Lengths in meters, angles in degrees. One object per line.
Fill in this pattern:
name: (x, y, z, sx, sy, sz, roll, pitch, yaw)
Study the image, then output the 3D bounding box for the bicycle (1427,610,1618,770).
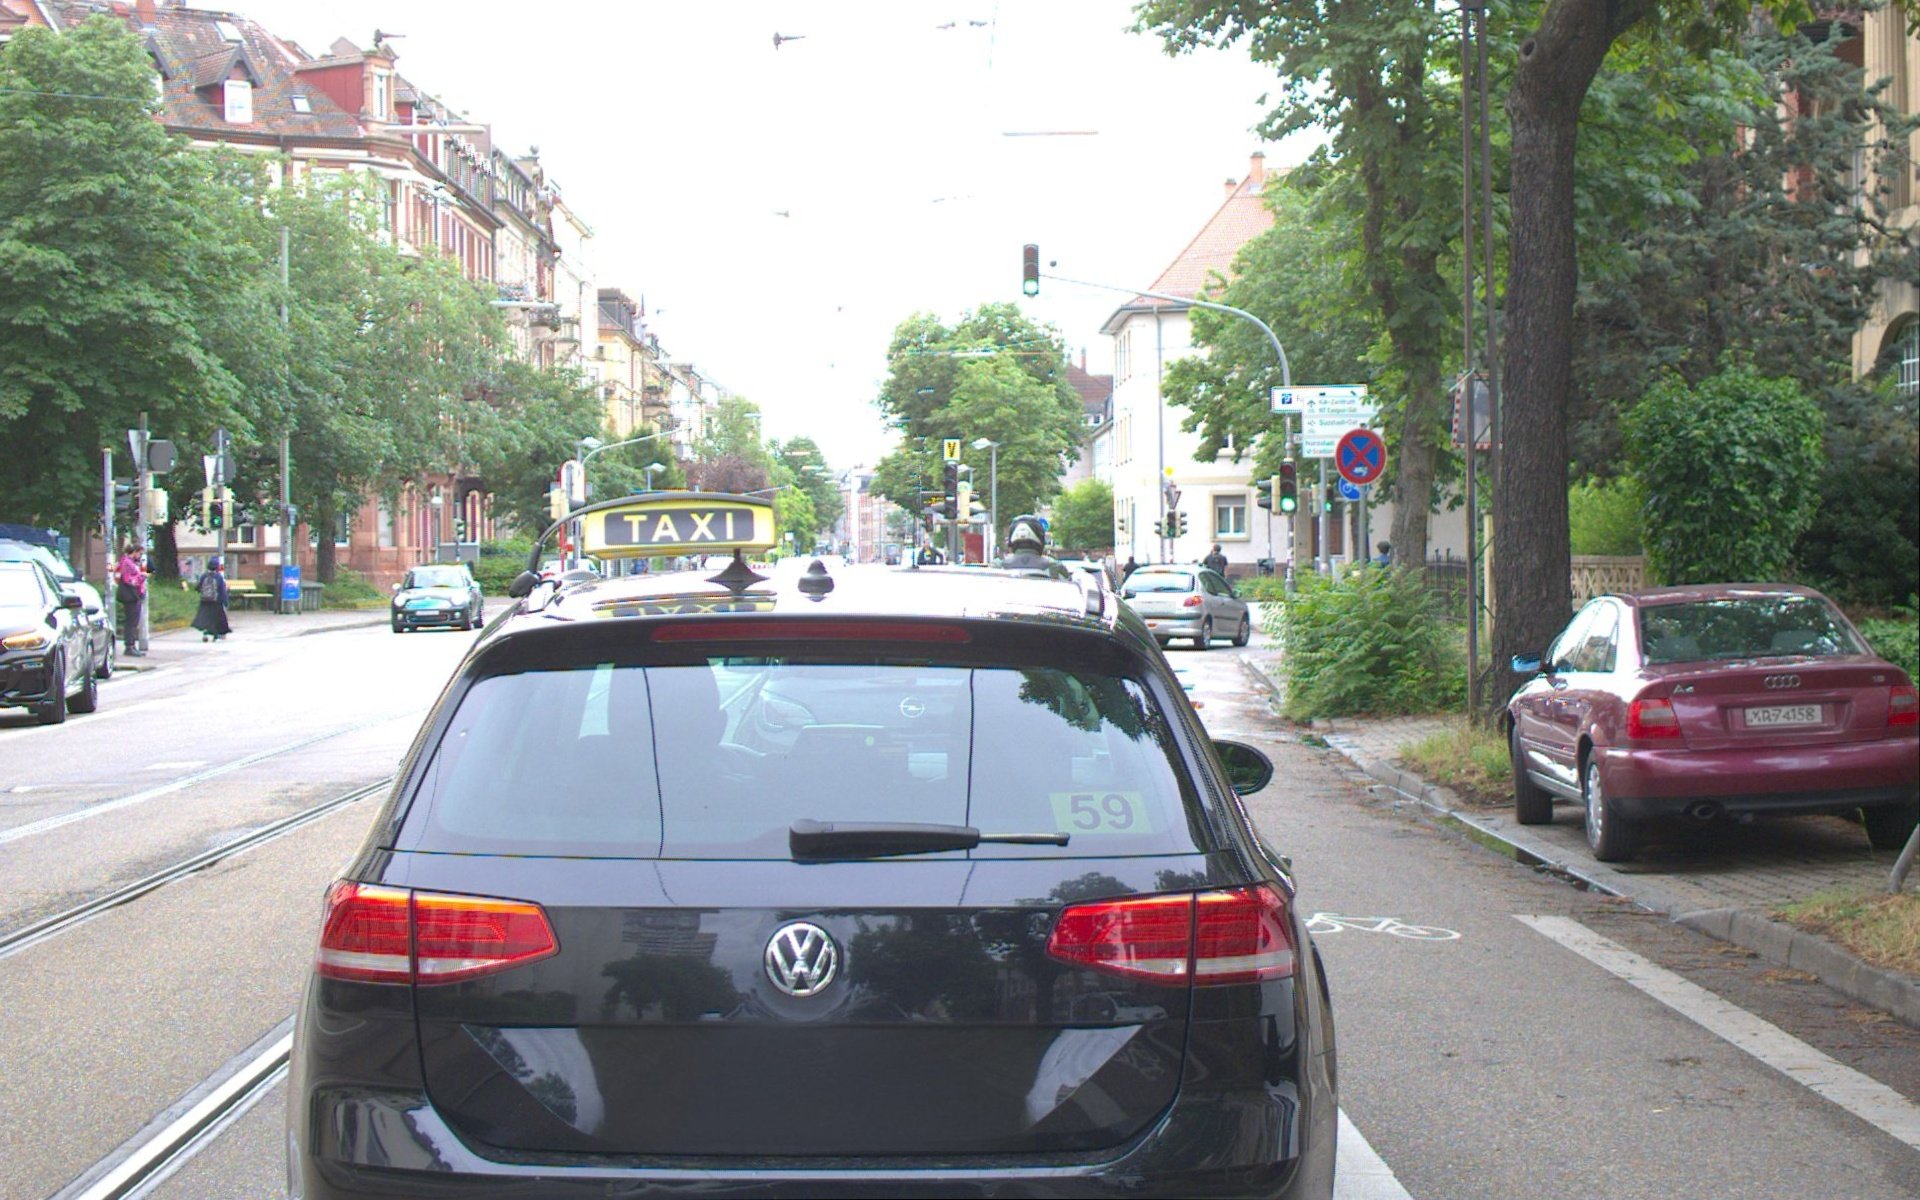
bicycle: (4.373, 0.683, 26.647, 0.433, 1.194, 1.899, 0, 0, 45)

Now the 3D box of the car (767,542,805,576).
car: (-8.473, -2.000, 167.398, 1.721, 1.617, 3.864, -1, 1, -1)

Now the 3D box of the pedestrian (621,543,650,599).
pedestrian: (-8.839, -0.787, 93.603, 0.714, 1.515, 0.590, 0, 1, 1)

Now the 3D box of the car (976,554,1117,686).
car: (1.035, 0.225, 42.649, 1.606, 1.550, 3.578, 1, 0, -1)

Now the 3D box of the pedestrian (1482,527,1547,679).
pedestrian: (6.661, 0.026, 41.326, 0.632, 1.808, 0.726, 0, 1, -3)

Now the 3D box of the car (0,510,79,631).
car: (-20.550, -0.611, 71.179, 2.180, 2.409, 5.377, -1, 1, -43)

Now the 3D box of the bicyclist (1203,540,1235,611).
bicyclist: (5.746, -0.545, 76.279, 0.651, 1.563, 0.695, -1, 1, 7)

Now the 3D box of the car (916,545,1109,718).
car: (0.450, 0.253, 32.675, 1.723, 1.541, 4.000, 0, 1, -1)

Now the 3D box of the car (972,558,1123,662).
car: (1.314, 0.110, 49.925, 1.892, 1.403, 3.999, -1, 1, 6)

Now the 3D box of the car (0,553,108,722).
car: (-10.073, 0.373, 35.757, 1.882, 1.606, 4.889, -3, 1, -9)

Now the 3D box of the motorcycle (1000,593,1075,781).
motorcycle: (0.527, 0.580, 23.934, 0.446, 1.231, 1.907, -1, 1, -1)

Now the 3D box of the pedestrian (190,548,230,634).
pedestrian: (-14.606, -0.177, 66.981, 0.589, 1.657, 0.839, 0, 1, -1)

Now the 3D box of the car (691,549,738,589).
car: (-10.142, -1.287, 142.052, 1.721, 1.617, 3.864, -1, 1, -1)

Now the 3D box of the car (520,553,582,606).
car: (-12.007, -0.616, 101.029, 1.698, 1.491, 3.931, -2, 1, -6)

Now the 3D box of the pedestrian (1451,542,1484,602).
pedestrian: (13.074, -0.731, 88.594, 0.608, 1.548, 0.583, -1, 1, -39)

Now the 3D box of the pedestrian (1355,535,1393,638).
pedestrian: (7.517, -0.244, 62.451, 0.514, 1.824, 0.417, -3, 1, 16)

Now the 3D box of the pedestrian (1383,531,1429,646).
pedestrian: (7.288, -0.192, 56.133, 0.585, 1.824, 0.604, -3, 1, 2)

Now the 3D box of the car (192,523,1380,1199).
car: (-0.271, 0.626, 6.999, 1.723, 1.541, 4.000, 0, 1, -1)

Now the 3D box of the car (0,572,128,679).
car: (-12.932, 0.332, 48.272, 1.648, 1.357, 4.130, 2, 1, -3)

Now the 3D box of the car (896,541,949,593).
car: (-1.478, -1.306, 136.206, 2.033, 2.007, 4.000, 1, 0, -1)

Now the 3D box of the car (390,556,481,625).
car: (-11.399, -0.229, 74.901, 1.608, 1.417, 3.487, -2, 1, -3)

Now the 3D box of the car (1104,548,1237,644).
car: (3.603, -0.074, 59.381, 1.993, 1.572, 4.000, 1, 0, -1)

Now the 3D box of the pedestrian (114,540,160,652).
pedestrian: (-13.633, -0.070, 56.968, 0.623, 1.836, 0.610, 0, 1, -3)

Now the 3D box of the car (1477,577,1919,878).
car: (4.055, 0.621, 19.220, 1.602, 1.394, 4.227, -2, 1, -1)

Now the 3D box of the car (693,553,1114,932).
car: (-0.251, 0.556, 16.060, 1.723, 1.541, 4.000, 0, 1, -1)

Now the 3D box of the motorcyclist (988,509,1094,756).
motorcyclist: (0.559, 0.216, 23.999, 0.703, 1.686, 0.804, -1, 1, -1)

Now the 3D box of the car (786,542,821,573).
car: (-8.281, -2.239, 181.716, 1.721, 1.617, 3.864, -1, 1, -1)

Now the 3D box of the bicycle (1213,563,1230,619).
bicycle: (5.804, -0.208, 76.225, 0.297, 1.219, 1.430, -1, 1, 7)
